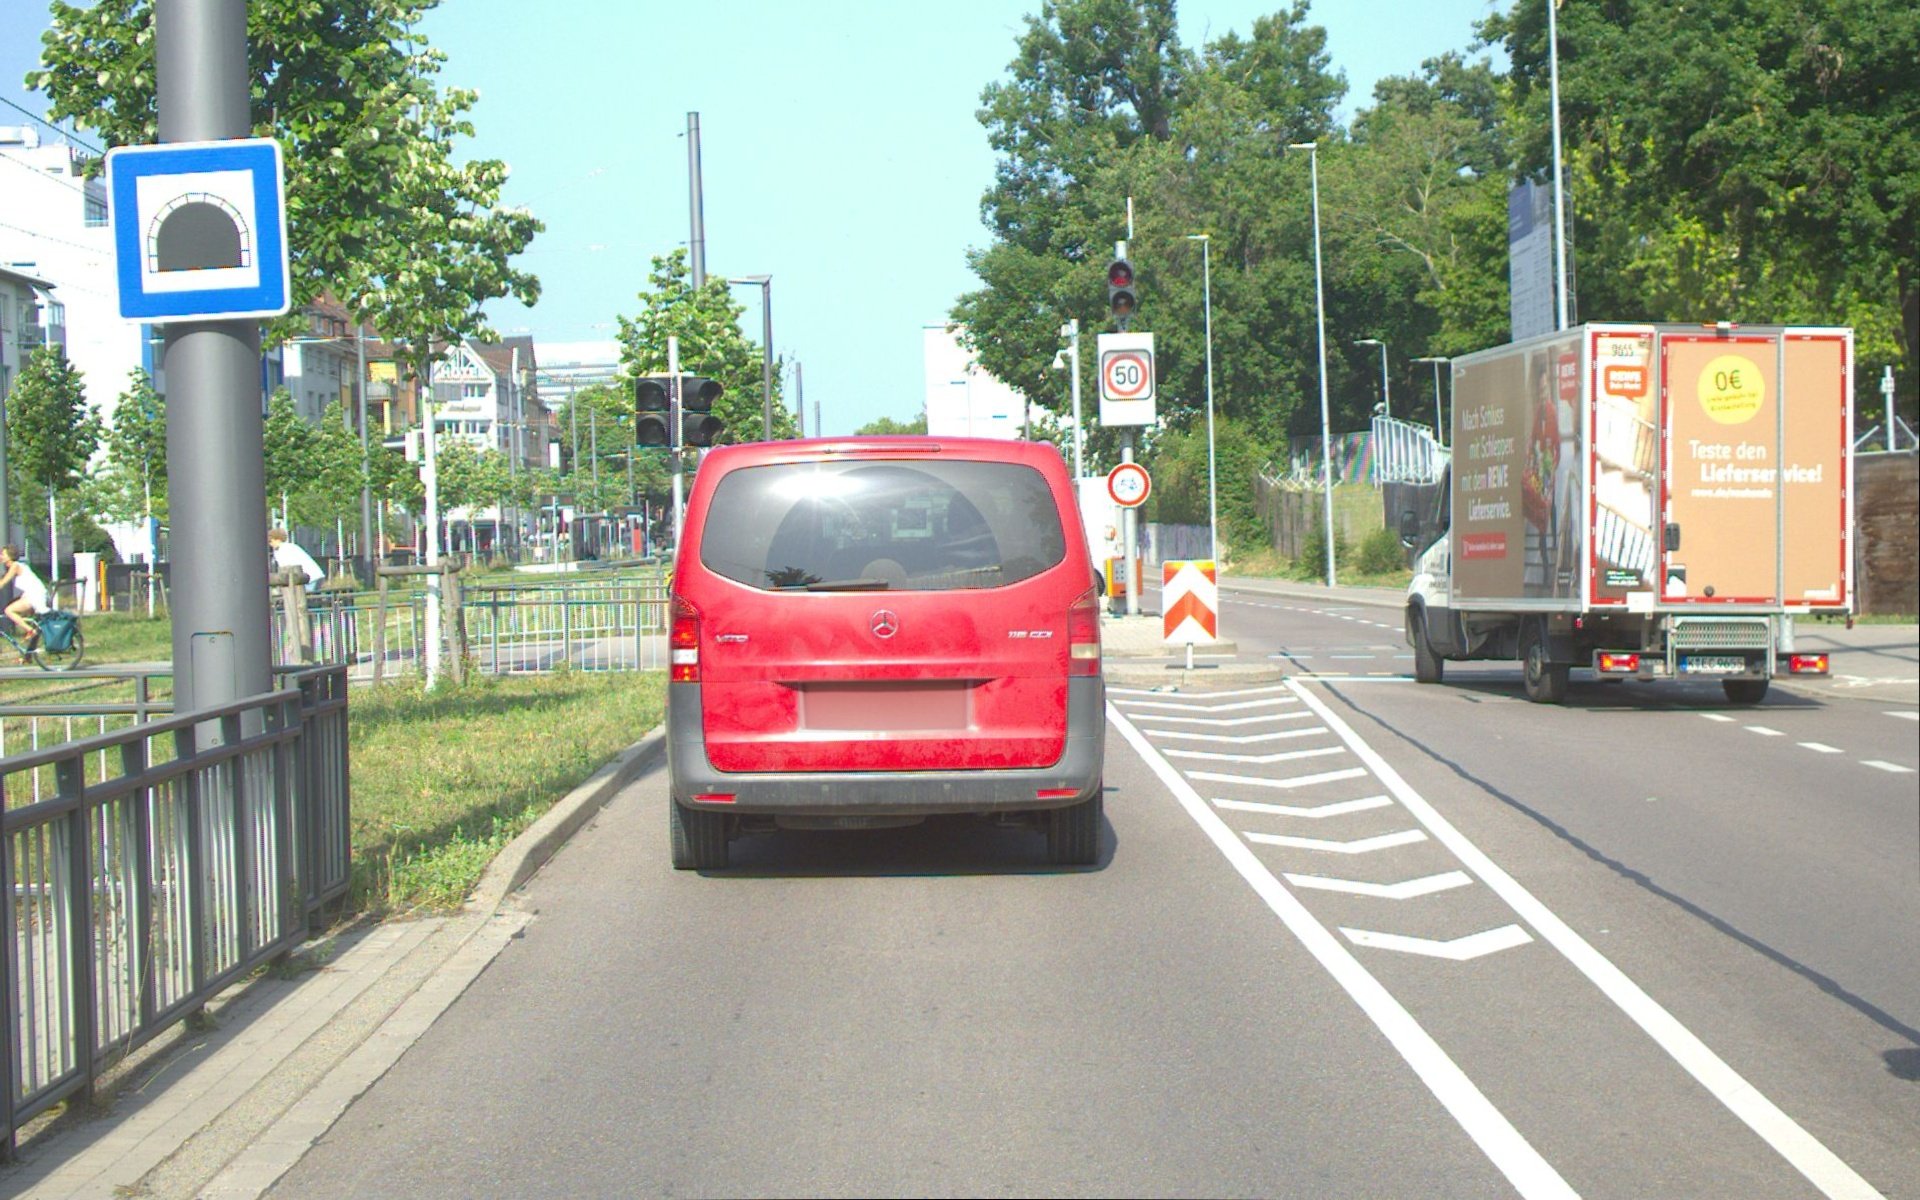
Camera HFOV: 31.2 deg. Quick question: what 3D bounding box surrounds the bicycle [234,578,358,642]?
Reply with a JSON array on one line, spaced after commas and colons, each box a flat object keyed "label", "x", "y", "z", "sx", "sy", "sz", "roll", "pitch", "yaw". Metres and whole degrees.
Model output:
[{"label": "bicycle", "x": -8.503, "y": 0.117, "z": 44.073, "sx": 0.719, "sy": 0.795, "sz": 1.601, "roll": 0, "pitch": 1, "yaw": 27}]

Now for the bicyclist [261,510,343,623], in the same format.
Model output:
[{"label": "bicyclist", "x": -8.444, "y": -0.427, "z": 44.149, "sx": 0.686, "sy": 1.435, "sz": 0.805, "roll": 0, "pitch": 0, "yaw": 28}]

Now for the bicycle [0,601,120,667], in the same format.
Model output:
[{"label": "bicycle", "x": -12.008, "y": 0.450, "z": 44.833, "sx": 1.995, "sy": 0.791, "sz": 0.629, "roll": -2, "pitch": 1, "yaw": -15}]

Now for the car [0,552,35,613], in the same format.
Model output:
[{"label": "car", "x": -33.441, "y": -0.594, "z": 117.846, "sx": 2.249, "sy": 2.007, "sz": 5.263, "roll": 0, "pitch": -1, "yaw": -3}]

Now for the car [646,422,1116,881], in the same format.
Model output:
[{"label": "car", "x": -0.282, "y": 0.174, "z": 15.900, "sx": 1.901, "sy": 1.853, "sz": 4.000, "roll": 0, "pitch": 1, "yaw": 1}]

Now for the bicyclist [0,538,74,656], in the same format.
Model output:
[{"label": "bicyclist", "x": -12.088, "y": -0.039, "z": 44.803, "sx": 0.983, "sy": 1.495, "sz": 0.621, "roll": -2, "pitch": 1, "yaw": -15}]

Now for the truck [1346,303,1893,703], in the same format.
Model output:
[{"label": "truck", "x": 5.514, "y": -0.775, "z": 30.284, "sx": 2.501, "sy": 3.050, "sz": 7.822, "roll": 0, "pitch": 1, "yaw": -6}]

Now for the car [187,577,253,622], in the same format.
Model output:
[{"label": "car", "x": -30.593, "y": -0.035, "z": 142.215, "sx": 1.917, "sy": 1.806, "sz": 4.000, "roll": 0, "pitch": 0, "yaw": -1}]
